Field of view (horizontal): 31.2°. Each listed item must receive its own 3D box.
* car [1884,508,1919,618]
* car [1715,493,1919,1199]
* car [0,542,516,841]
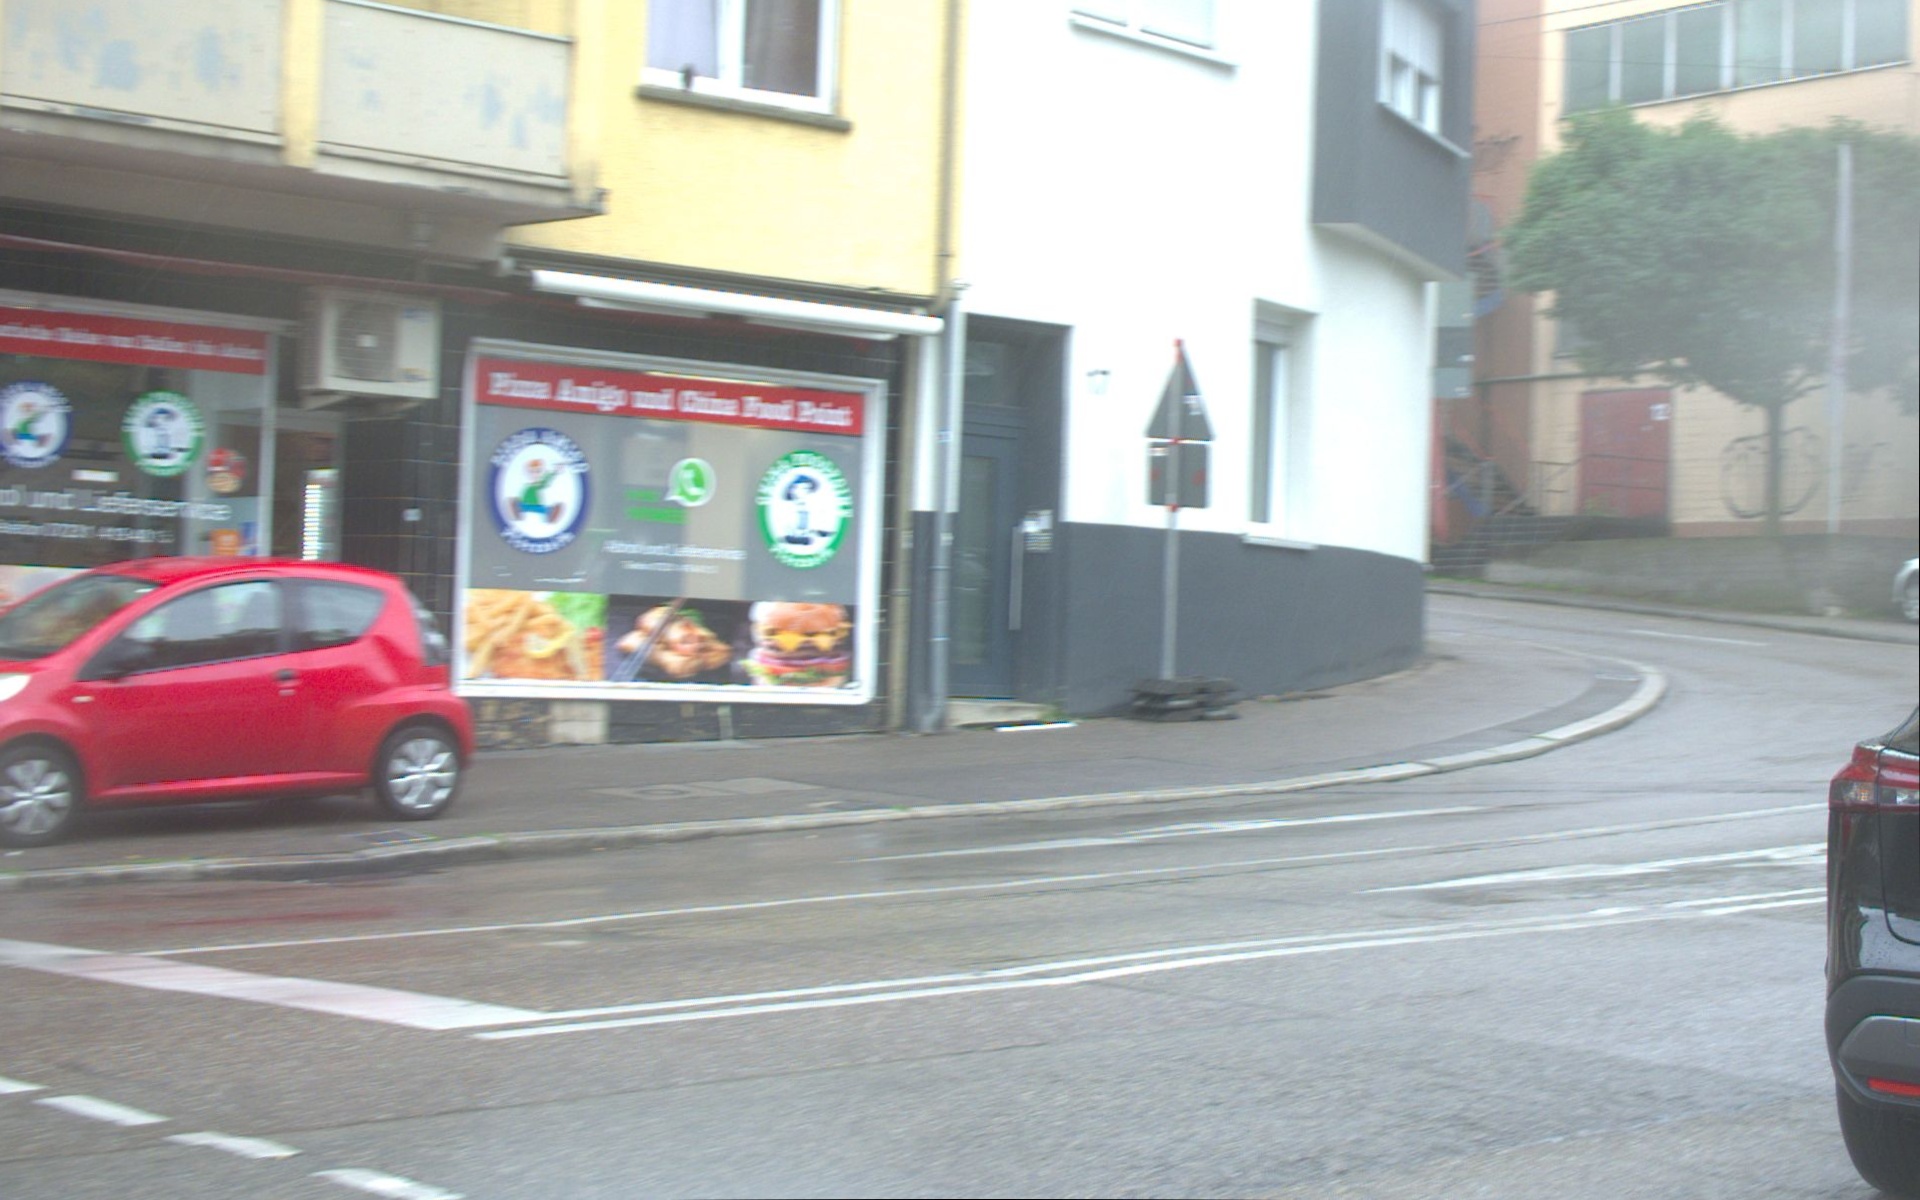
[{"bbox_3d":[15.858,-0.388,50.229,1.852,1.611,4.918,2,3,-22],"label":"car"},{"bbox_3d":[3.586,0.605,8.322,1.885,1.588,3.912,2,1,38],"label":"car"},{"bbox_3d":[-4.390,0.442,18.946,3.524,1.459,1.614,-1,3,-40],"label":"car"}]
